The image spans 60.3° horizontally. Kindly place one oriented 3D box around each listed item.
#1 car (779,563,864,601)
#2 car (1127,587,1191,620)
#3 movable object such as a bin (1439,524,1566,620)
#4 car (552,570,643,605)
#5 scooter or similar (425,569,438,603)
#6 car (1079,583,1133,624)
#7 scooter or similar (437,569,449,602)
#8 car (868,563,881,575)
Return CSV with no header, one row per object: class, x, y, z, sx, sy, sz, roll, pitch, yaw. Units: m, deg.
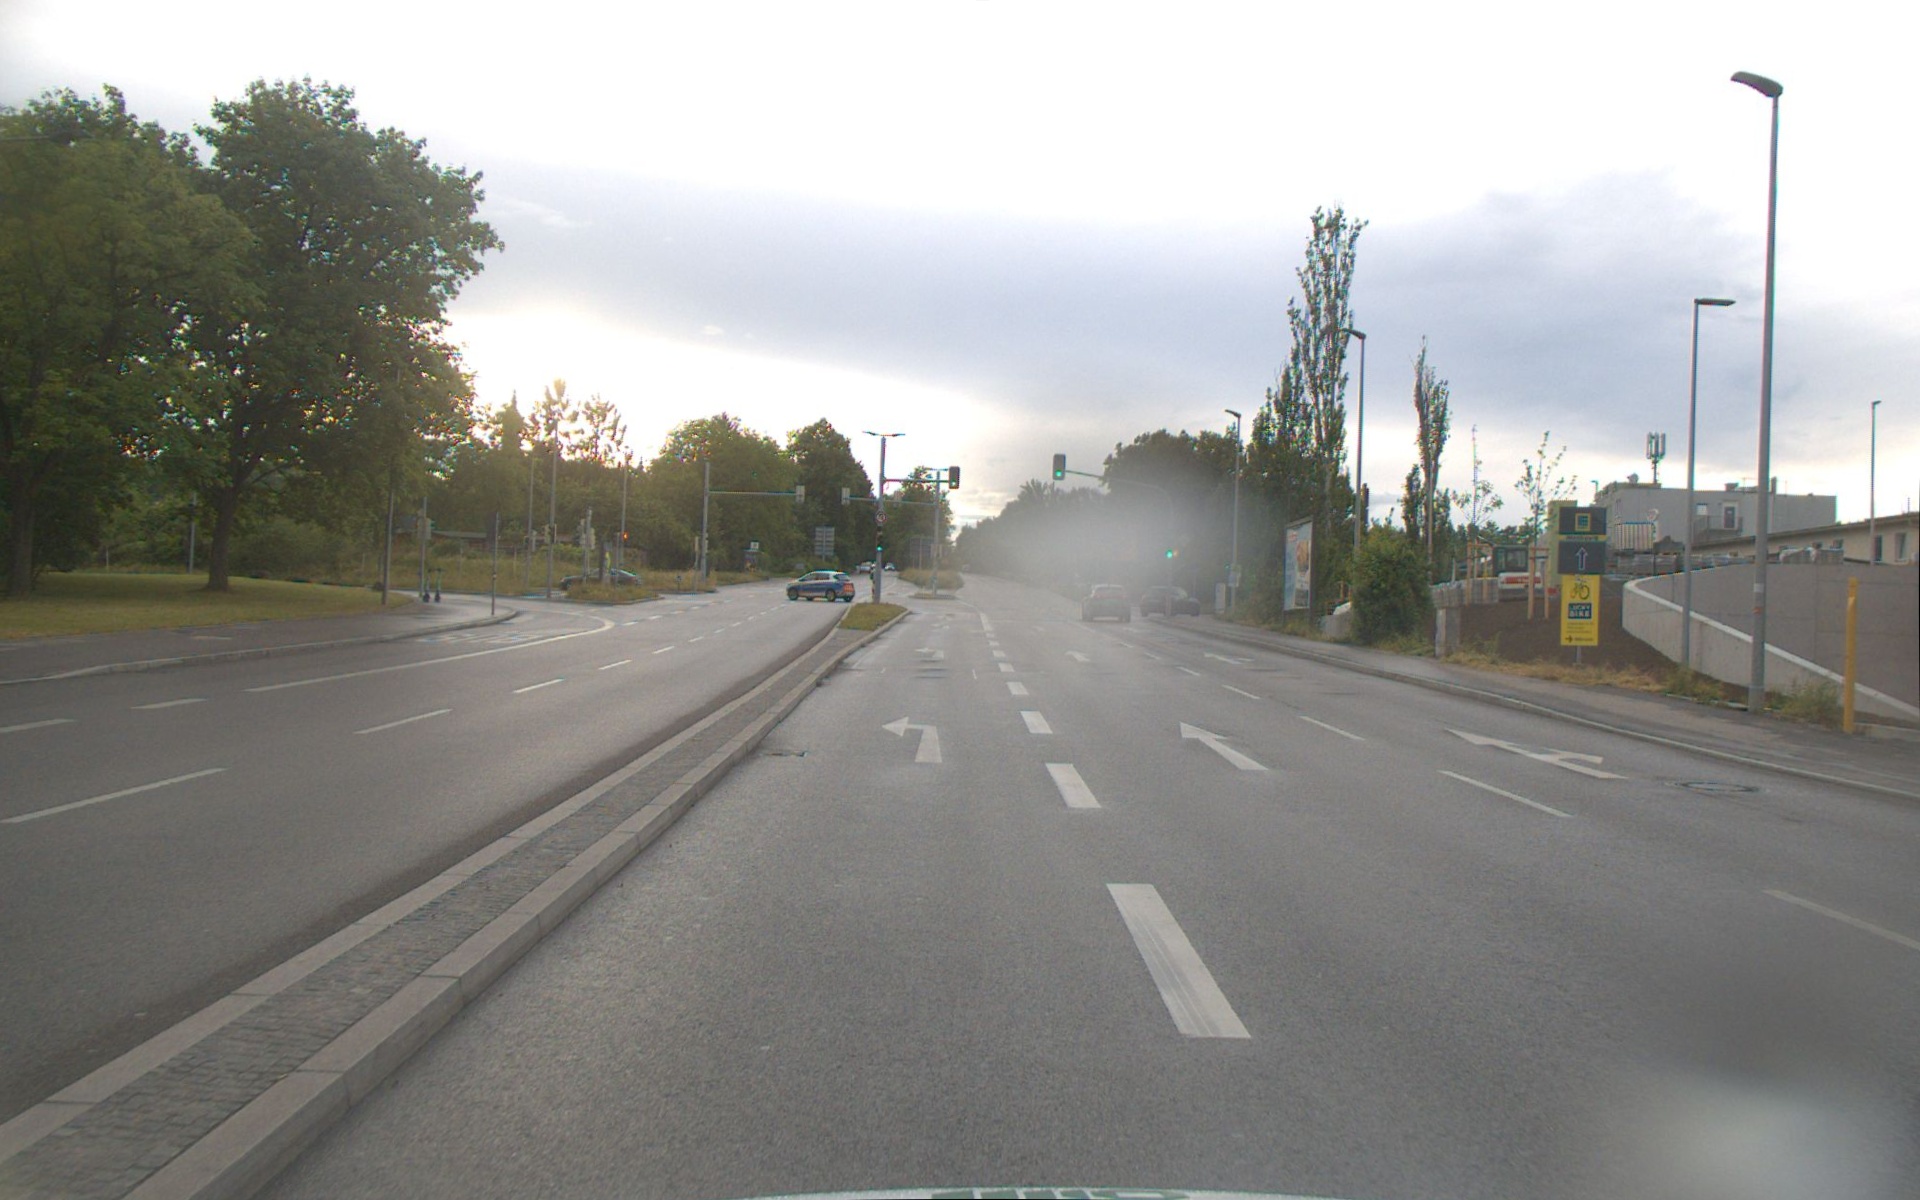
car,-7.388,-0.953,88.209,4.118,1.748,2.073,3,-1,38
car,9.582,0.165,79.314,1.711,1.495,4.161,3,1,26
movable object such as a bin,20.064,-1.056,61.483,2.258,3.333,5.416,2,1,-8
car,-19.995,-0.663,91.423,4.559,1.610,2.170,4,-1,-6
scooter or similar,-19.459,-0.516,60.915,0.306,1.239,1.303,2,1,-14
car,5.863,0.126,66.776,1.709,1.495,4.166,3,1,-1
scooter or similar,-19.559,-0.558,62.625,0.306,1.239,1.303,2,1,-14
car,-12.802,-4.661,247.927,1.733,1.623,4.488,2,1,-1
